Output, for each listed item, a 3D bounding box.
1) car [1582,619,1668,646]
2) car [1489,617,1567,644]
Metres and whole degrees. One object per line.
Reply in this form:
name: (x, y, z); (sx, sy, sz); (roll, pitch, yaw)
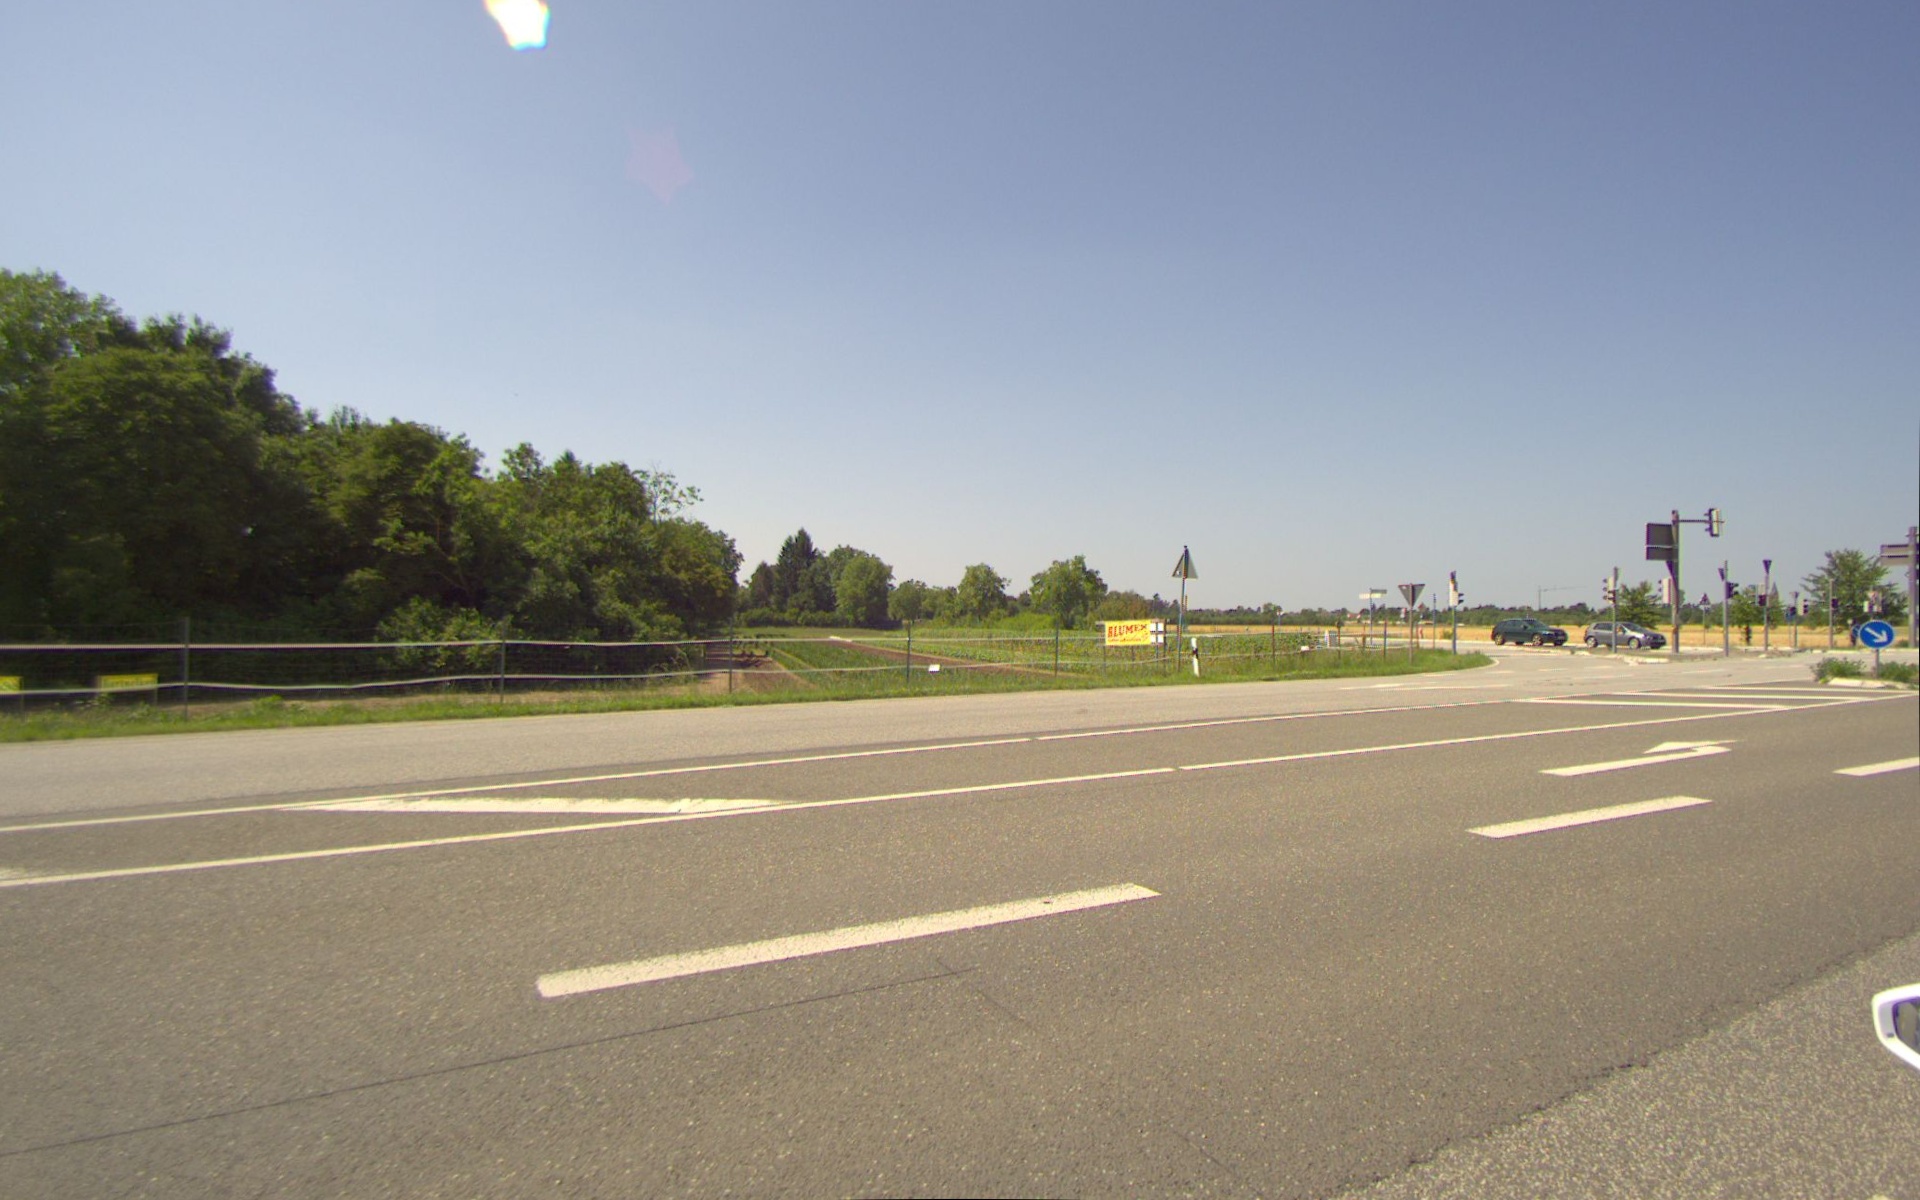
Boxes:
car: (36.950, 1.800, 55.908); (1.608, 1.405, 3.866); (0, 0, -17)
car: (34.942, 1.872, 61.882); (1.607, 1.615, 4.357); (0, -2, -15)
